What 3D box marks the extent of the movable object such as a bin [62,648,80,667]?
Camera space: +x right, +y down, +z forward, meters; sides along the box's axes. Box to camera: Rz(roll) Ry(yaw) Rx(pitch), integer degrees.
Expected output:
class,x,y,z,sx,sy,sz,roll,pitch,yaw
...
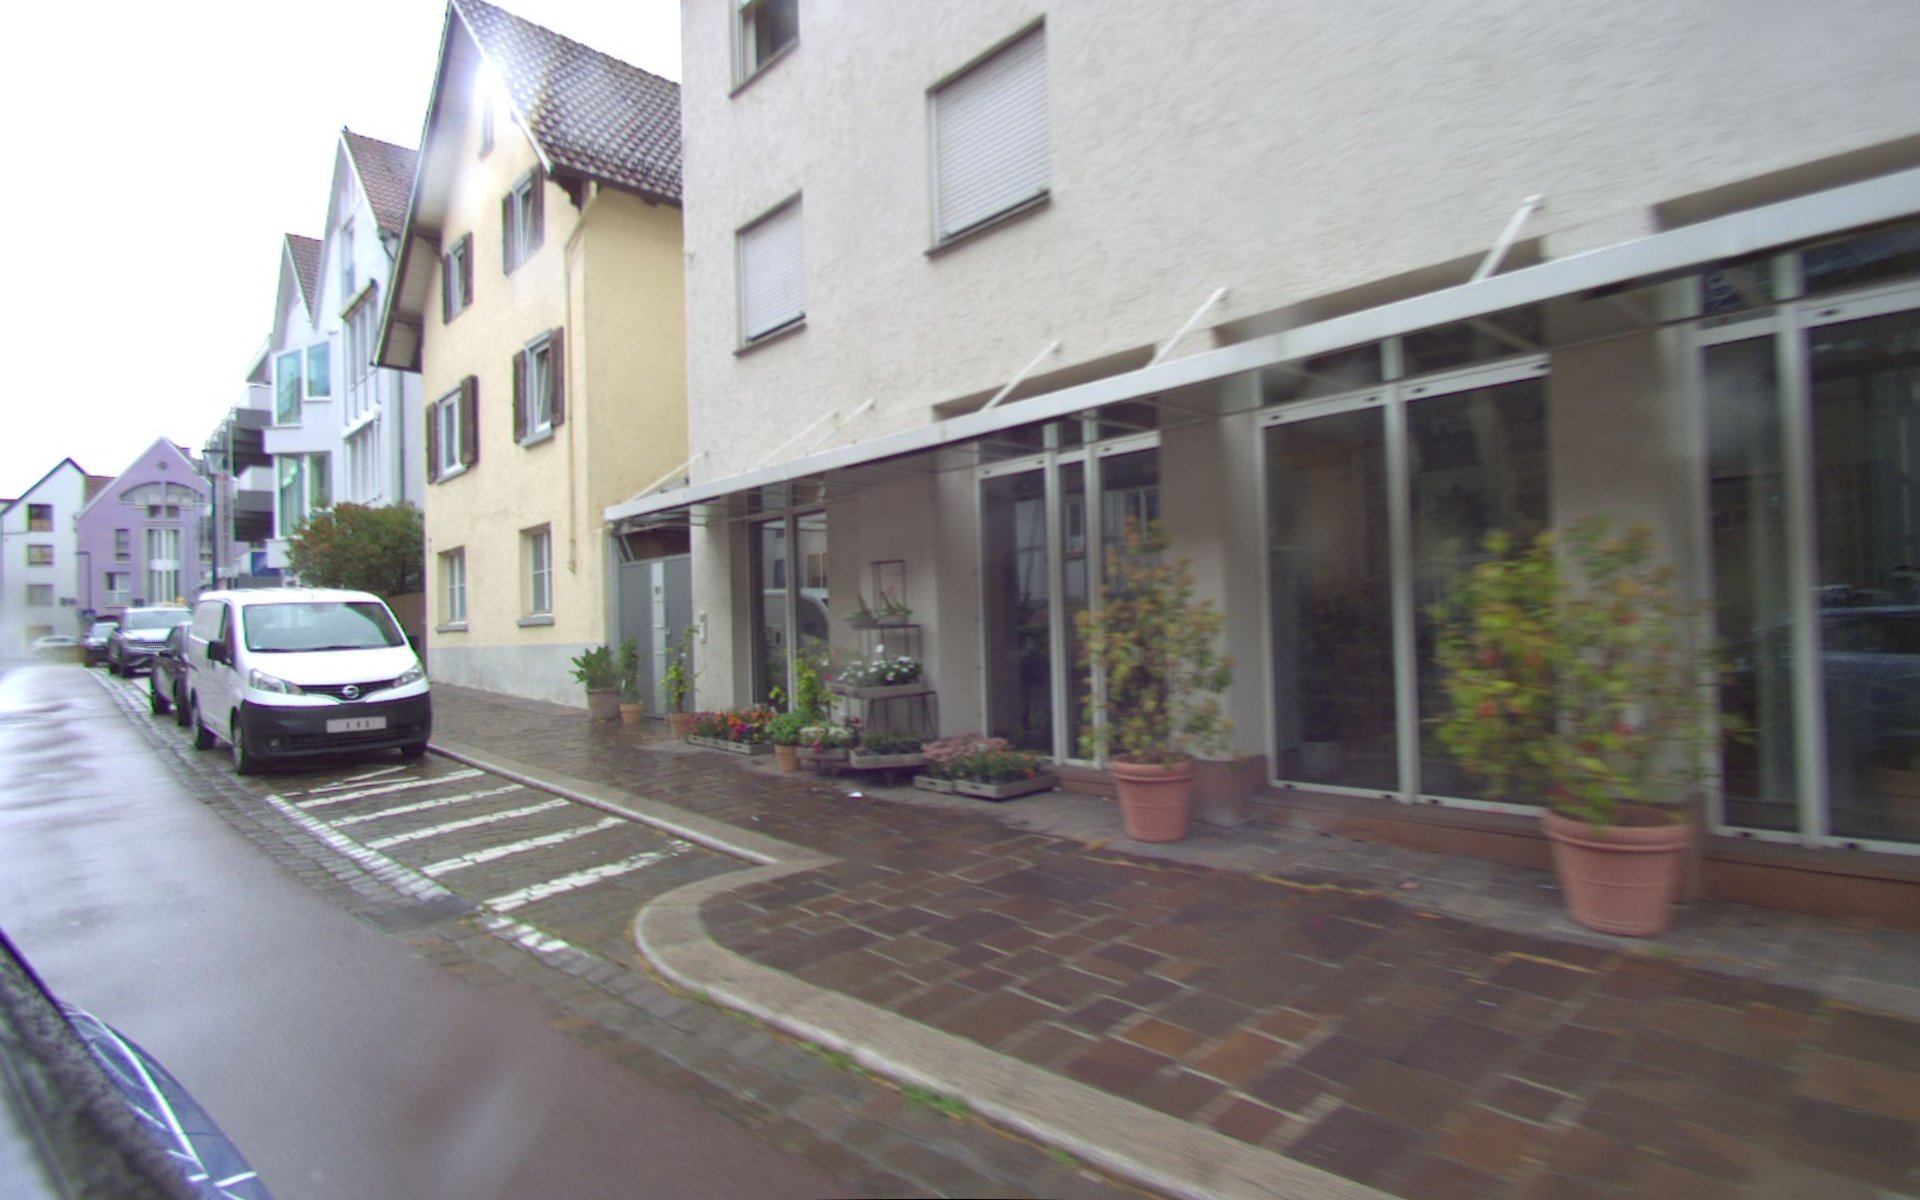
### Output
class,x,y,z,sx,sy,sz,roll,pitch,yaw
movable object such as a bin,-53.777,3.471,61.206,0.668,1.082,0.680,-3,-2,38

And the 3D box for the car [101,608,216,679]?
class,x,y,z,sx,sy,sz,roll,pitch,yaw
car,-19.869,1.015,25.017,1.759,1.580,4.411,-1,0,-45

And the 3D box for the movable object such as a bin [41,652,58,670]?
class,x,y,z,sx,sy,sz,roll,pitch,yaw
movable object such as a bin,-57.128,3.851,63.480,0.711,1.095,0.680,-3,-2,38

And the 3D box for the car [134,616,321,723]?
class,x,y,z,sx,sy,sz,roll,pitch,yaw
car,-11.314,0.967,15.536,3.826,1.399,1.662,-1,0,44

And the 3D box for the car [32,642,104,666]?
class,x,y,z,sx,sy,sz,roll,pitch,yaw
car,-68.033,4.106,77.261,3.933,1.595,1.837,-1,0,-36

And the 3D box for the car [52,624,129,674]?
class,x,y,z,sx,sy,sz,roll,pitch,yaw
car,-28.696,1.601,33.367,1.808,1.510,4.769,0,-3,-42

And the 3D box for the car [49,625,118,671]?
class,x,y,z,sx,sy,sz,roll,pitch,yaw
car,-32.768,1.766,37.813,1.770,1.562,4.004,-2,0,-43

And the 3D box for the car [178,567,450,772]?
class,x,y,z,sx,sy,sz,roll,pitch,yaw
car,-7.347,0.648,11.303,1.703,1.839,4.432,-1,0,-44

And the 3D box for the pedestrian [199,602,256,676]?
class,x,y,z,sx,sy,sz,roll,pitch,yaw
pedestrian,-18.666,0.989,25.782,1.023,1.820,1.117,-2,-1,-43

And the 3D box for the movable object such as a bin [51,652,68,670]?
class,x,y,z,sx,sy,sz,roll,pitch,yaw
movable object such as a bin,-55.051,3.726,61.851,0.668,1.114,0.680,-3,-2,38

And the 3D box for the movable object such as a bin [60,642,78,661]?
class,x,y,z,sx,sy,sz,roll,pitch,yaw
movable object such as a bin,-52.654,3.060,59.780,0.668,1.084,0.680,-3,-2,38
